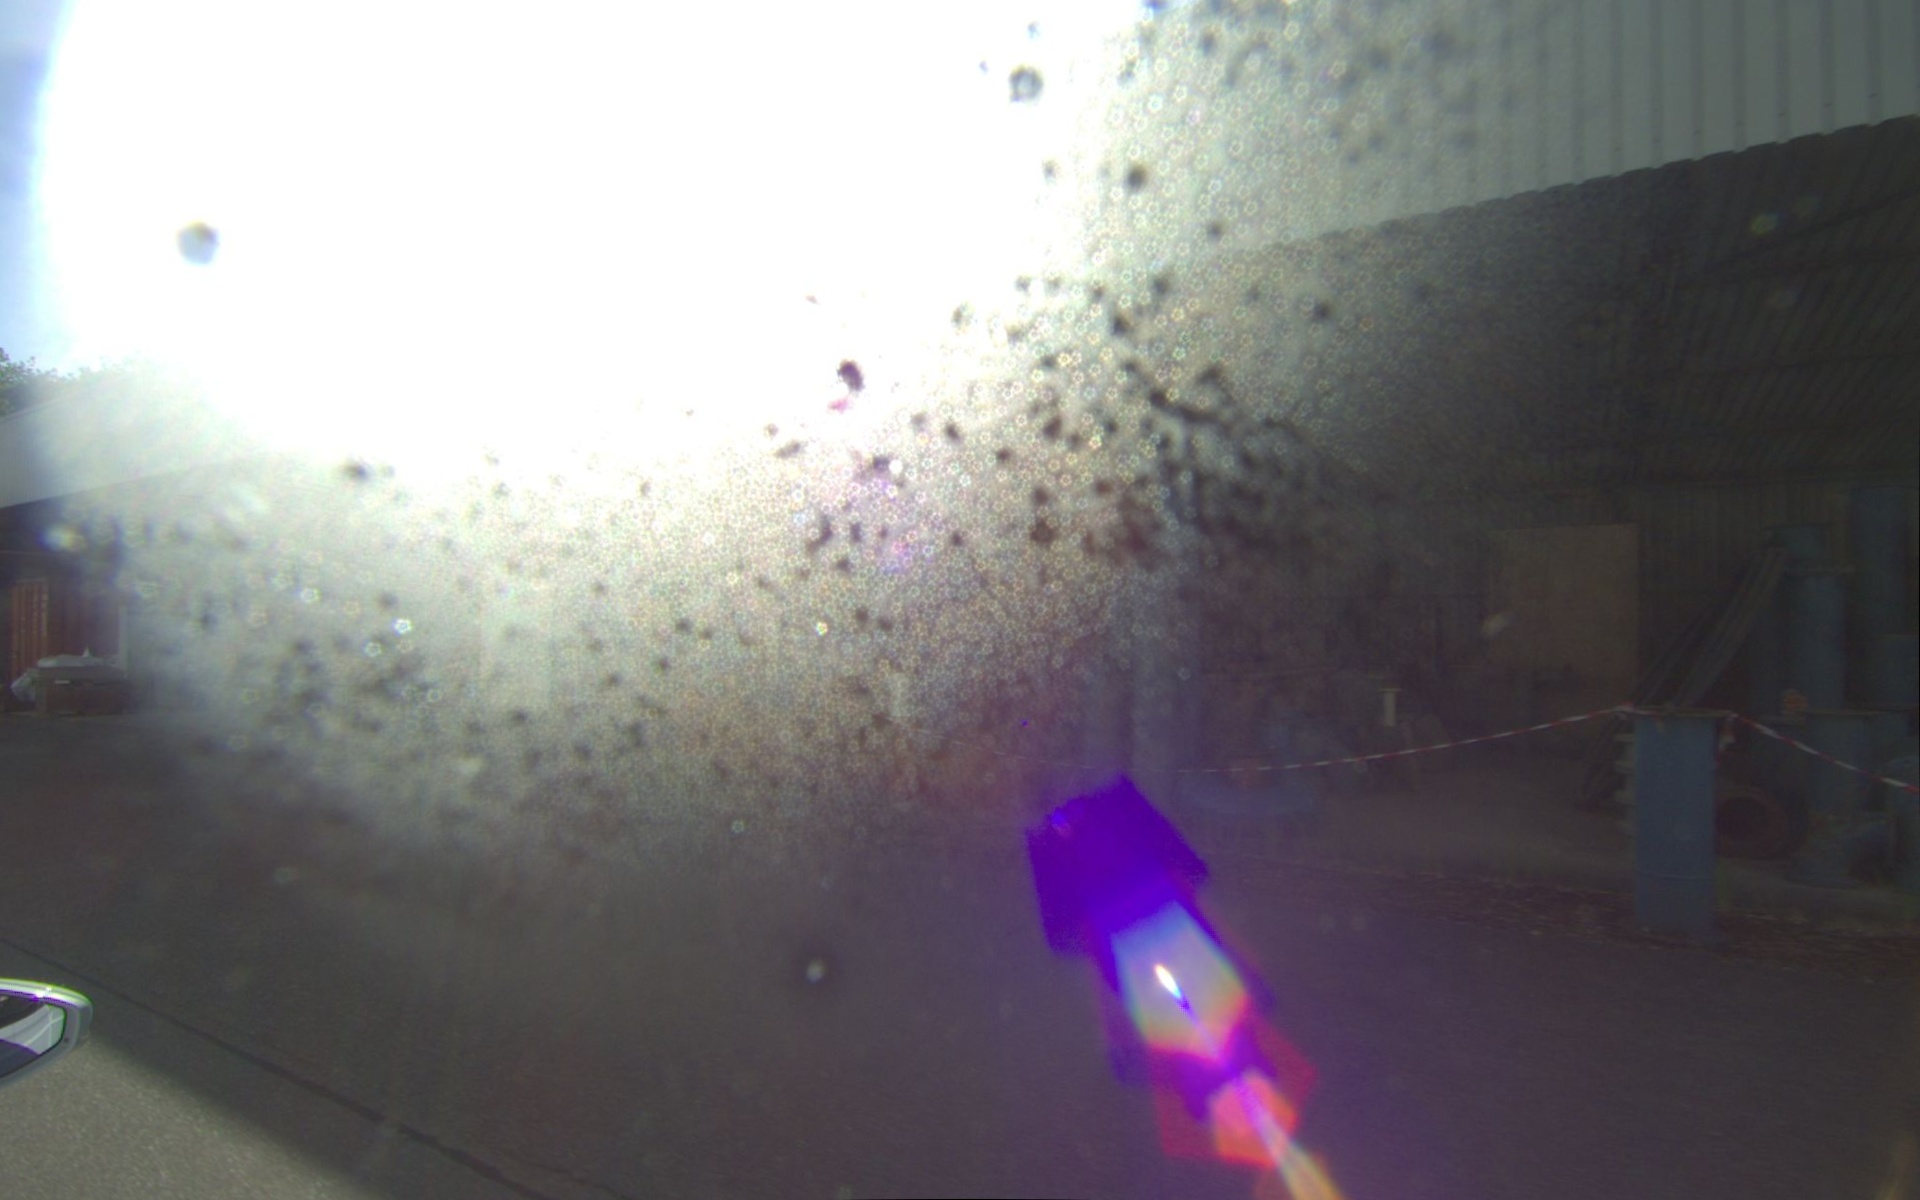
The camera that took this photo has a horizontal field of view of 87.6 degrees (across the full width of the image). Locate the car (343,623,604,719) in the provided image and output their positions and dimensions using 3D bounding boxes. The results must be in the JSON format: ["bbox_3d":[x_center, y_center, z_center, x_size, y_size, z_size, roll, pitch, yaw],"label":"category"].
[{"bbox_3d":[-8.668,1.232,18.194,1.812,1.533,3.962,-1,-3,29],"label":"car"}]

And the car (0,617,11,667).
[{"bbox_3d":[-39.403,1.566,37.805,1.967,1.940,4.773,-1,-3,24],"label":"car"}]

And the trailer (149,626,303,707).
[{"bbox_3d":[-14.418,1.256,19.700,1.715,1.485,2.032,-1,-2,36],"label":"trailer"}]

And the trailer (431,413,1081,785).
[{"bbox_3d":[-1.714,0.134,14.198,2.761,3.386,10.250,-1,-2,32],"label":"trailer"}]

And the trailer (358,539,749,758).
[{"bbox_3d":[-5.145,0.607,13.321,2.019,2.372,4.508,-1,-2,33],"label":"trailer"}]

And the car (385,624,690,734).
[{"bbox_3d":[-6.502,1.165,15.914,1.841,1.490,4.246,0,-2,29],"label":"car"}]

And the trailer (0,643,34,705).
[{"bbox_3d":[-18.366,1.401,19.135,1.524,1.133,0.551,-1,-1,30],"label":"trailer"}]

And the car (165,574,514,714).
[{"bbox_3d":[-11.650,0.855,19.286,2.121,2.309,5.326,-1,-3,31],"label":"car"}]
